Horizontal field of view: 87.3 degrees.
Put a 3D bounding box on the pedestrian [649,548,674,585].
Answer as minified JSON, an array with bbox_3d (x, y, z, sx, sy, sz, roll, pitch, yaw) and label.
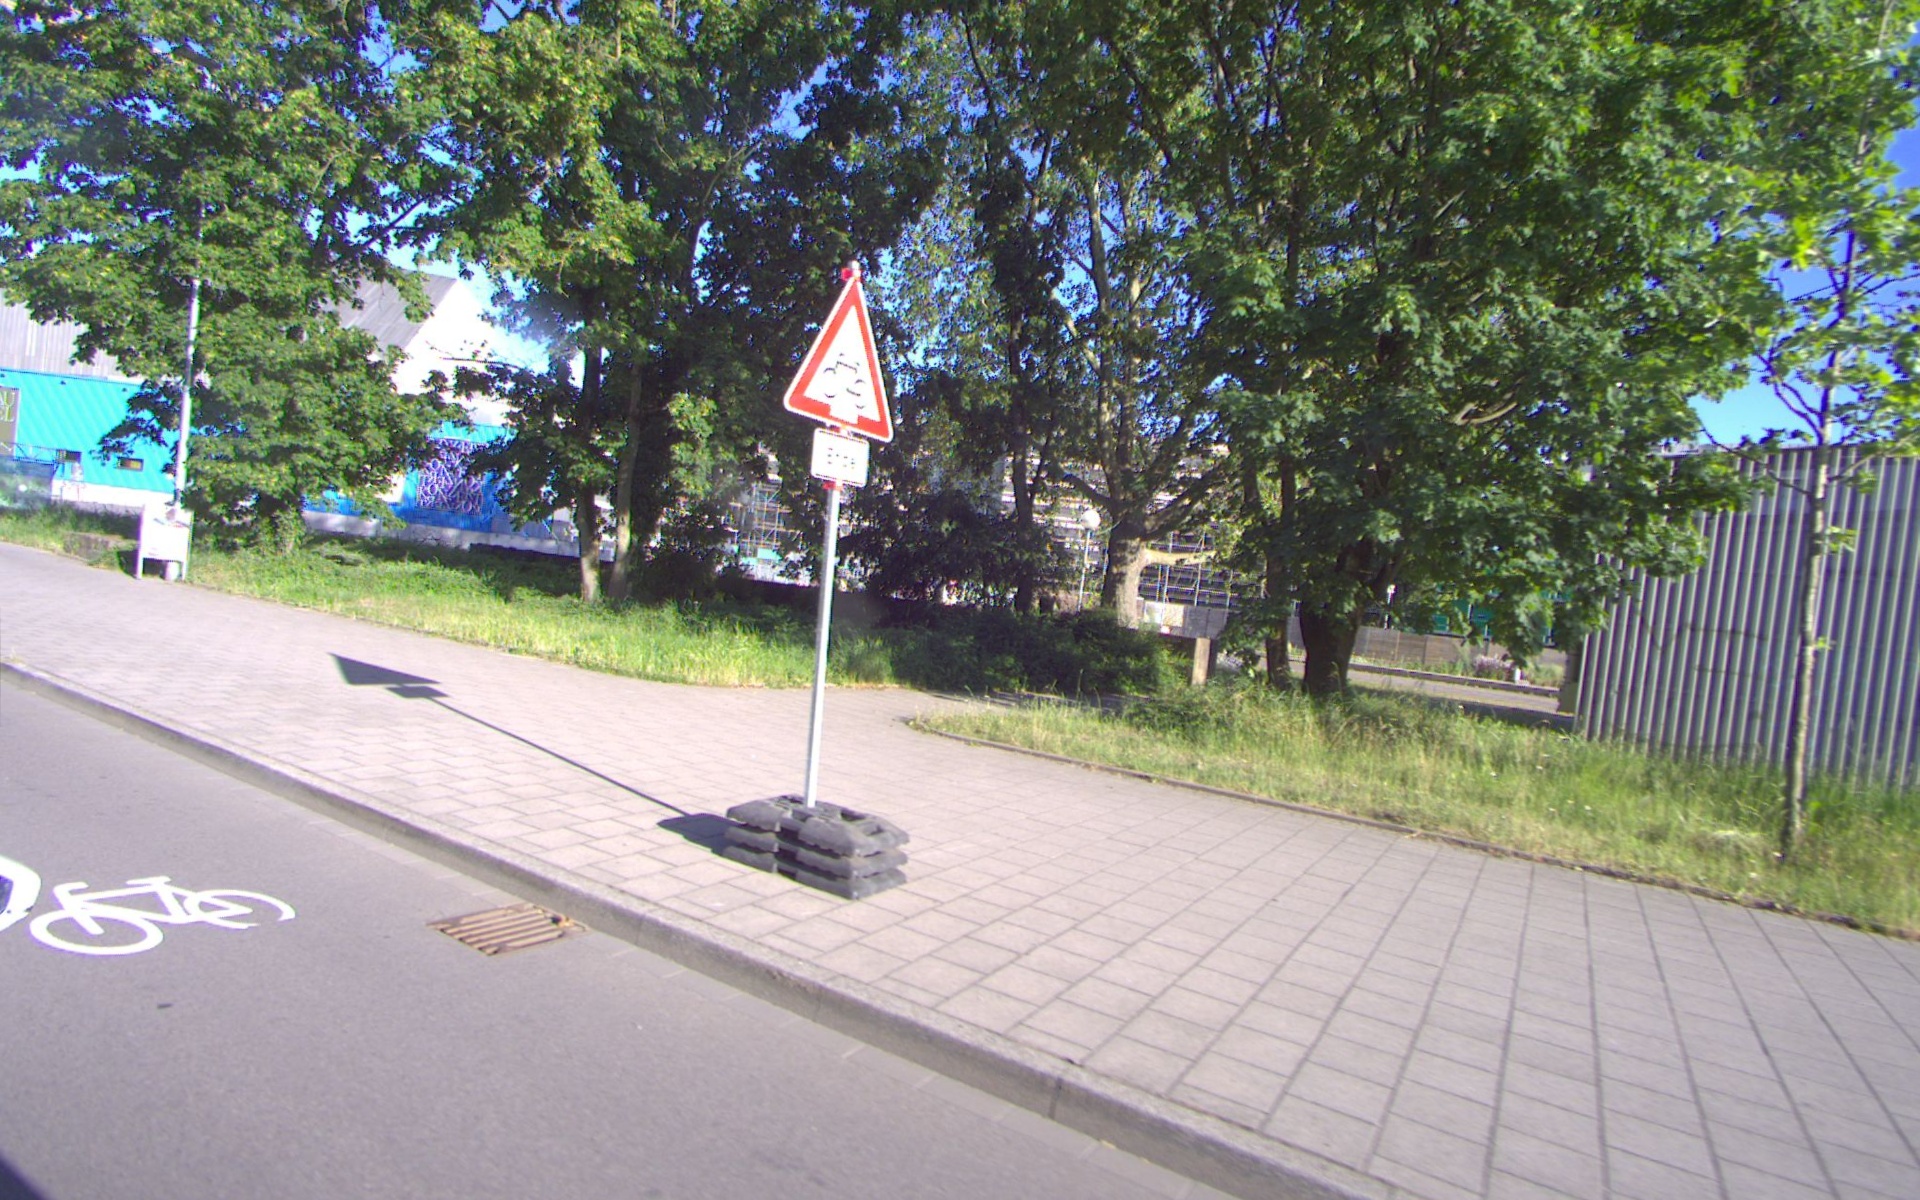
[{"bbox_3d":[-17.062,-1.906,57.489,0.932,2.039,0.913,5,0,3],"label":"pedestrian"}]
